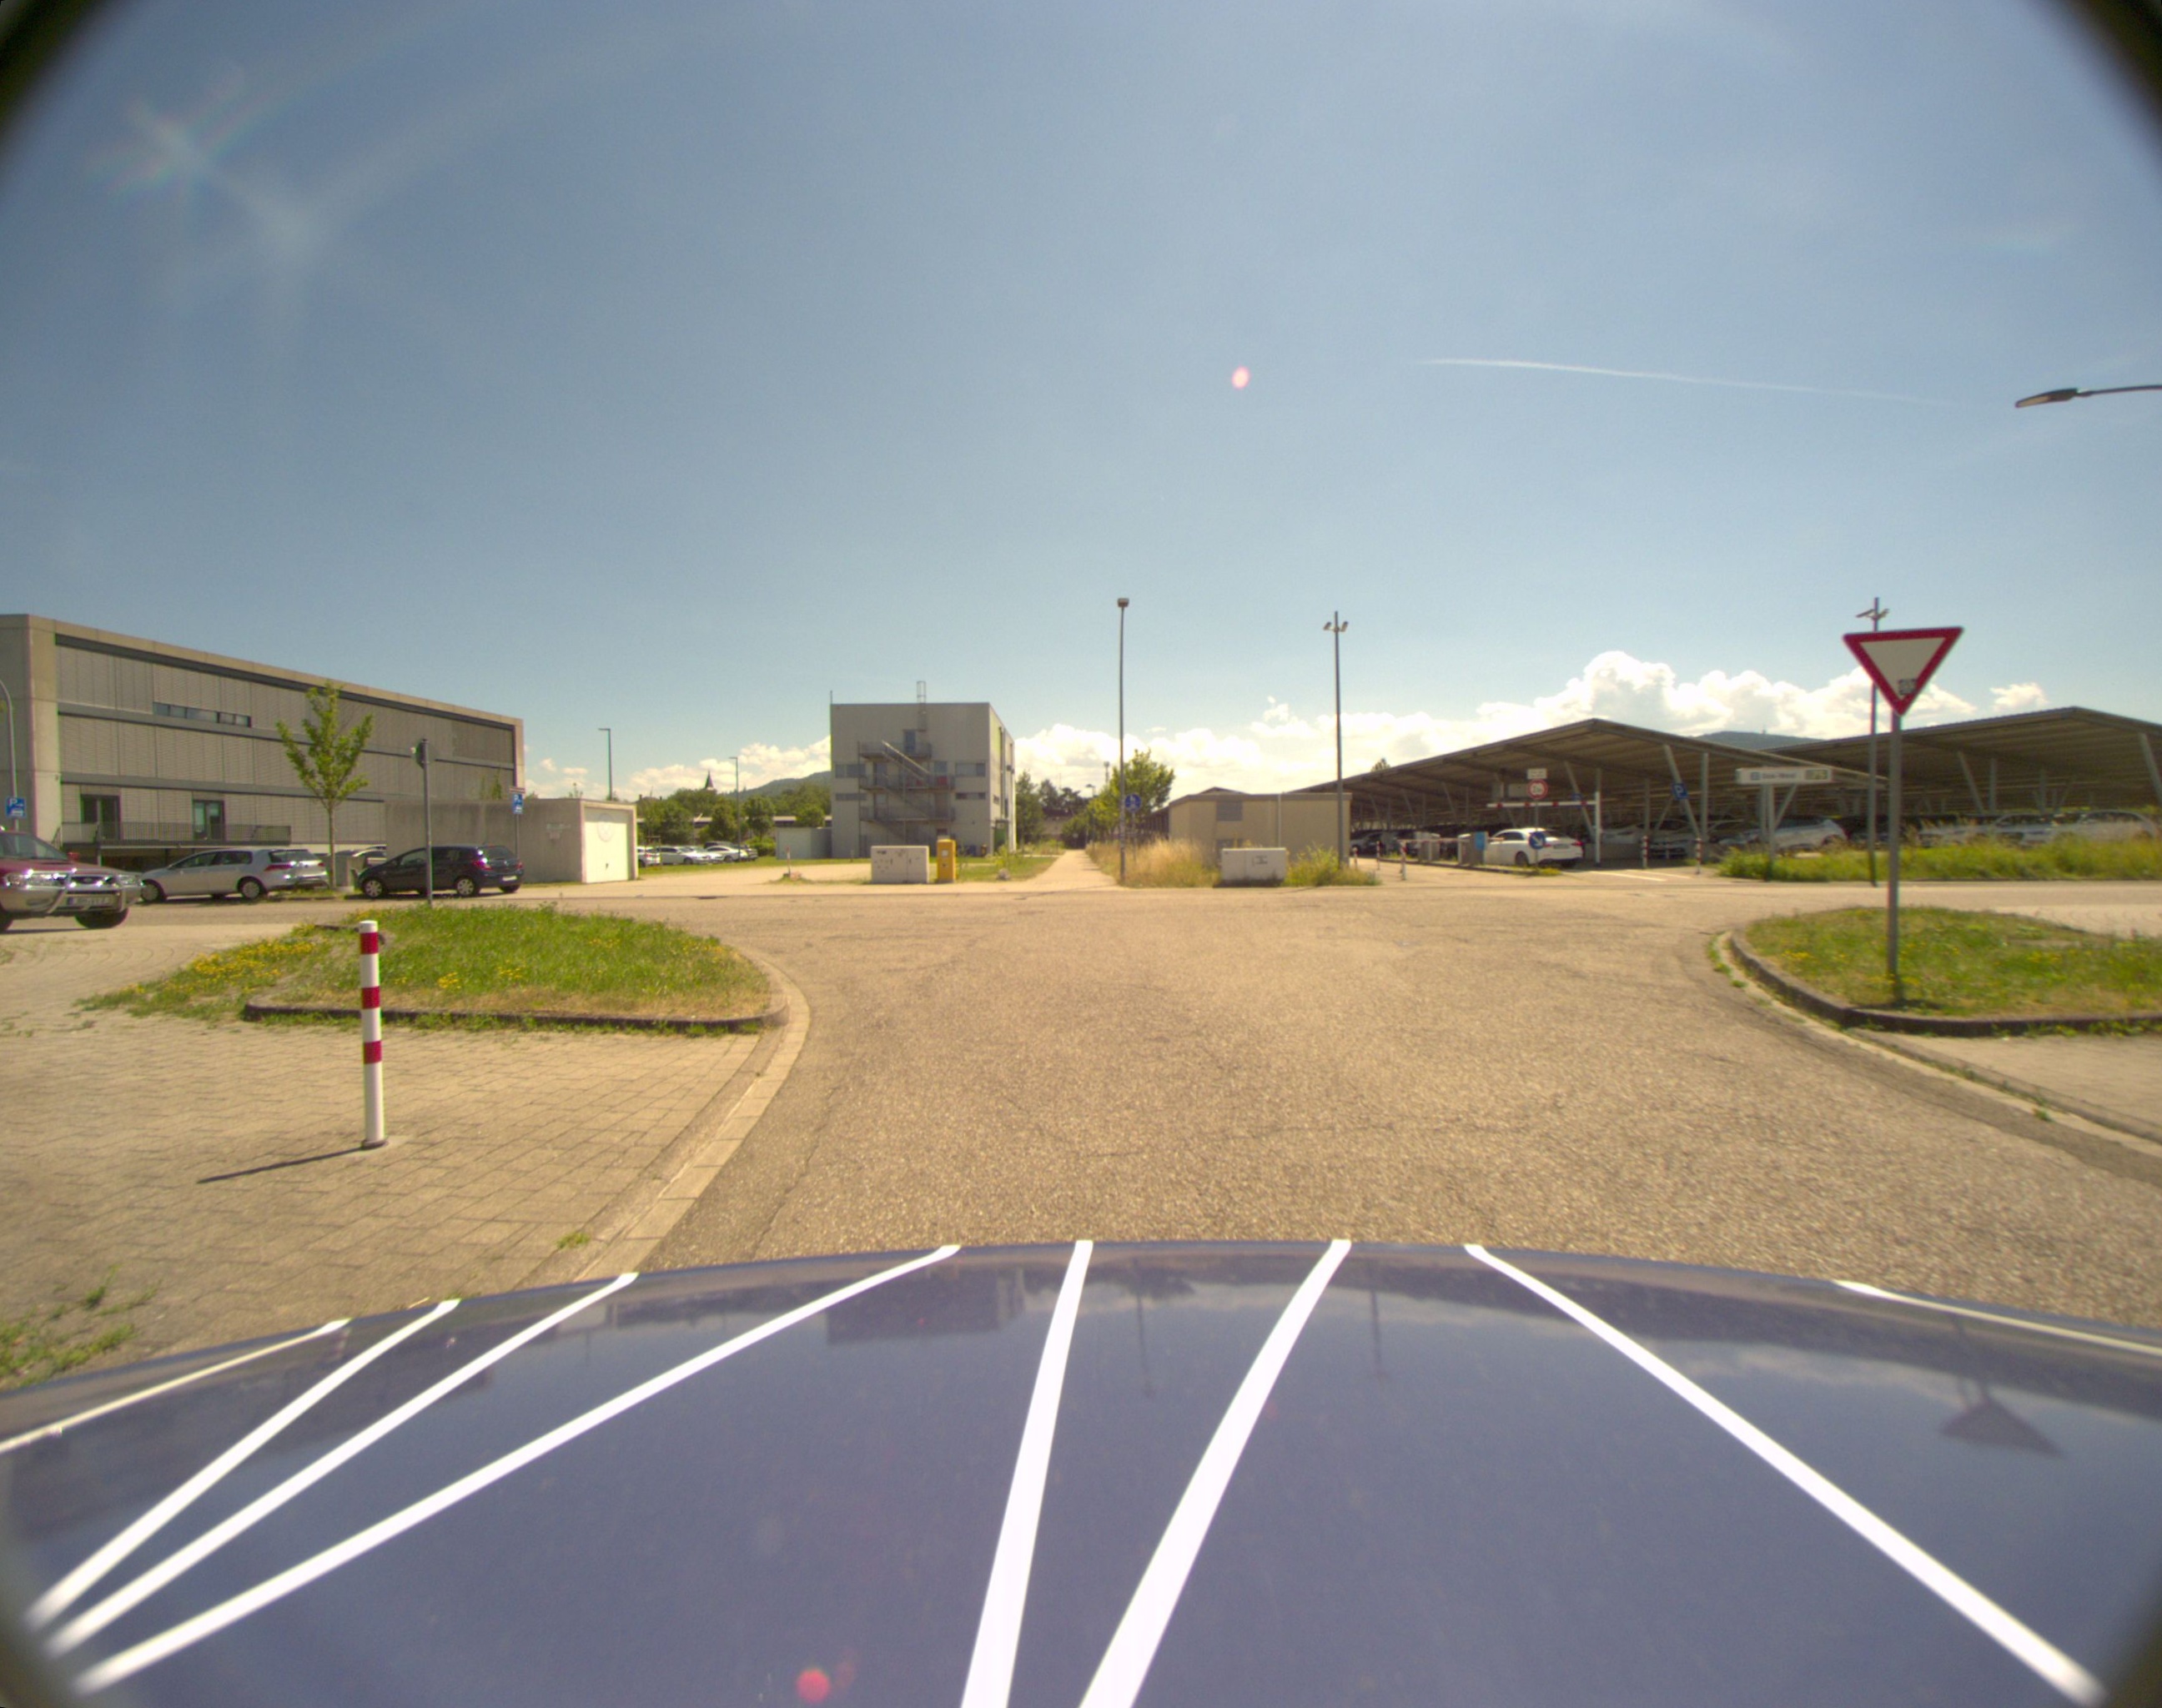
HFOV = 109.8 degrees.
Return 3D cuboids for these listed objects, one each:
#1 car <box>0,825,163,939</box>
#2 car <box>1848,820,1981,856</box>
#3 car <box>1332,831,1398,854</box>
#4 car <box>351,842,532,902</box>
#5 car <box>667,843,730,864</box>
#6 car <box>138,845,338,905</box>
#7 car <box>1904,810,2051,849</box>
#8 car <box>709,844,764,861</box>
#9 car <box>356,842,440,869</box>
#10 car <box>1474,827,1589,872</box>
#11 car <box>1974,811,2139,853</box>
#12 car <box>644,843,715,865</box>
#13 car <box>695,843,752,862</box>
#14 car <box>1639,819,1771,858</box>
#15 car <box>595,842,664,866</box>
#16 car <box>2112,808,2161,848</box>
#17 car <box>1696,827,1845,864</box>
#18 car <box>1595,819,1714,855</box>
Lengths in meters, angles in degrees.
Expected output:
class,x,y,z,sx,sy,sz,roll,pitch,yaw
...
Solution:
class,x,y,z,sx,sy,sz,roll,pitch,yaw
car,-18.584,0.498,12.848,3.996,1.764,1.811,-2,-1,2
car,35.039,-0.662,32.015,3.774,1.428,1.723,-1,1,-1
car,18.868,-0.756,50.529,3.774,1.428,1.723,-1,1,-1
car,-18.024,0.475,21.537,3.625,1.493,1.682,-1,4,1
car,-29.916,-0.047,59.523,4.053,1.458,1.658,-1,2,1
car,-23.769,0.570,21.525,3.626,1.493,1.657,-1,4,-1
car,35.065,-0.951,29.794,3.774,1.428,1.723,-1,1,-1
car,-30.682,-0.122,67.765,4.053,1.379,1.658,-1,2,1
car,-41.993,0.080,46.759,3.625,1.493,1.658,-1,4,2
car,15.790,-0.184,26.850,1.722,1.428,3.774,-1,1,-2
car,34.794,-0.781,27.170,3.774,1.428,1.723,-1,1,-1
car,-30.044,-0.012,56.925,4.368,1.458,1.709,-1,2,1
car,-30.278,-0.138,64.401,4.053,1.417,1.658,-1,2,1
car,24.365,-0.597,29.747,3.774,1.428,1.723,-1,1,-1
car,-30.427,-0.006,51.272,3.625,1.492,1.658,-1,2,1
car,40.356,-0.954,27.515,3.774,1.428,1.723,-1,1,-1
car,24.455,-0.300,27.026,3.774,1.221,1.723,-1,1,-1
car,24.340,-0.708,32.319,3.774,1.428,1.723,-1,1,-1
